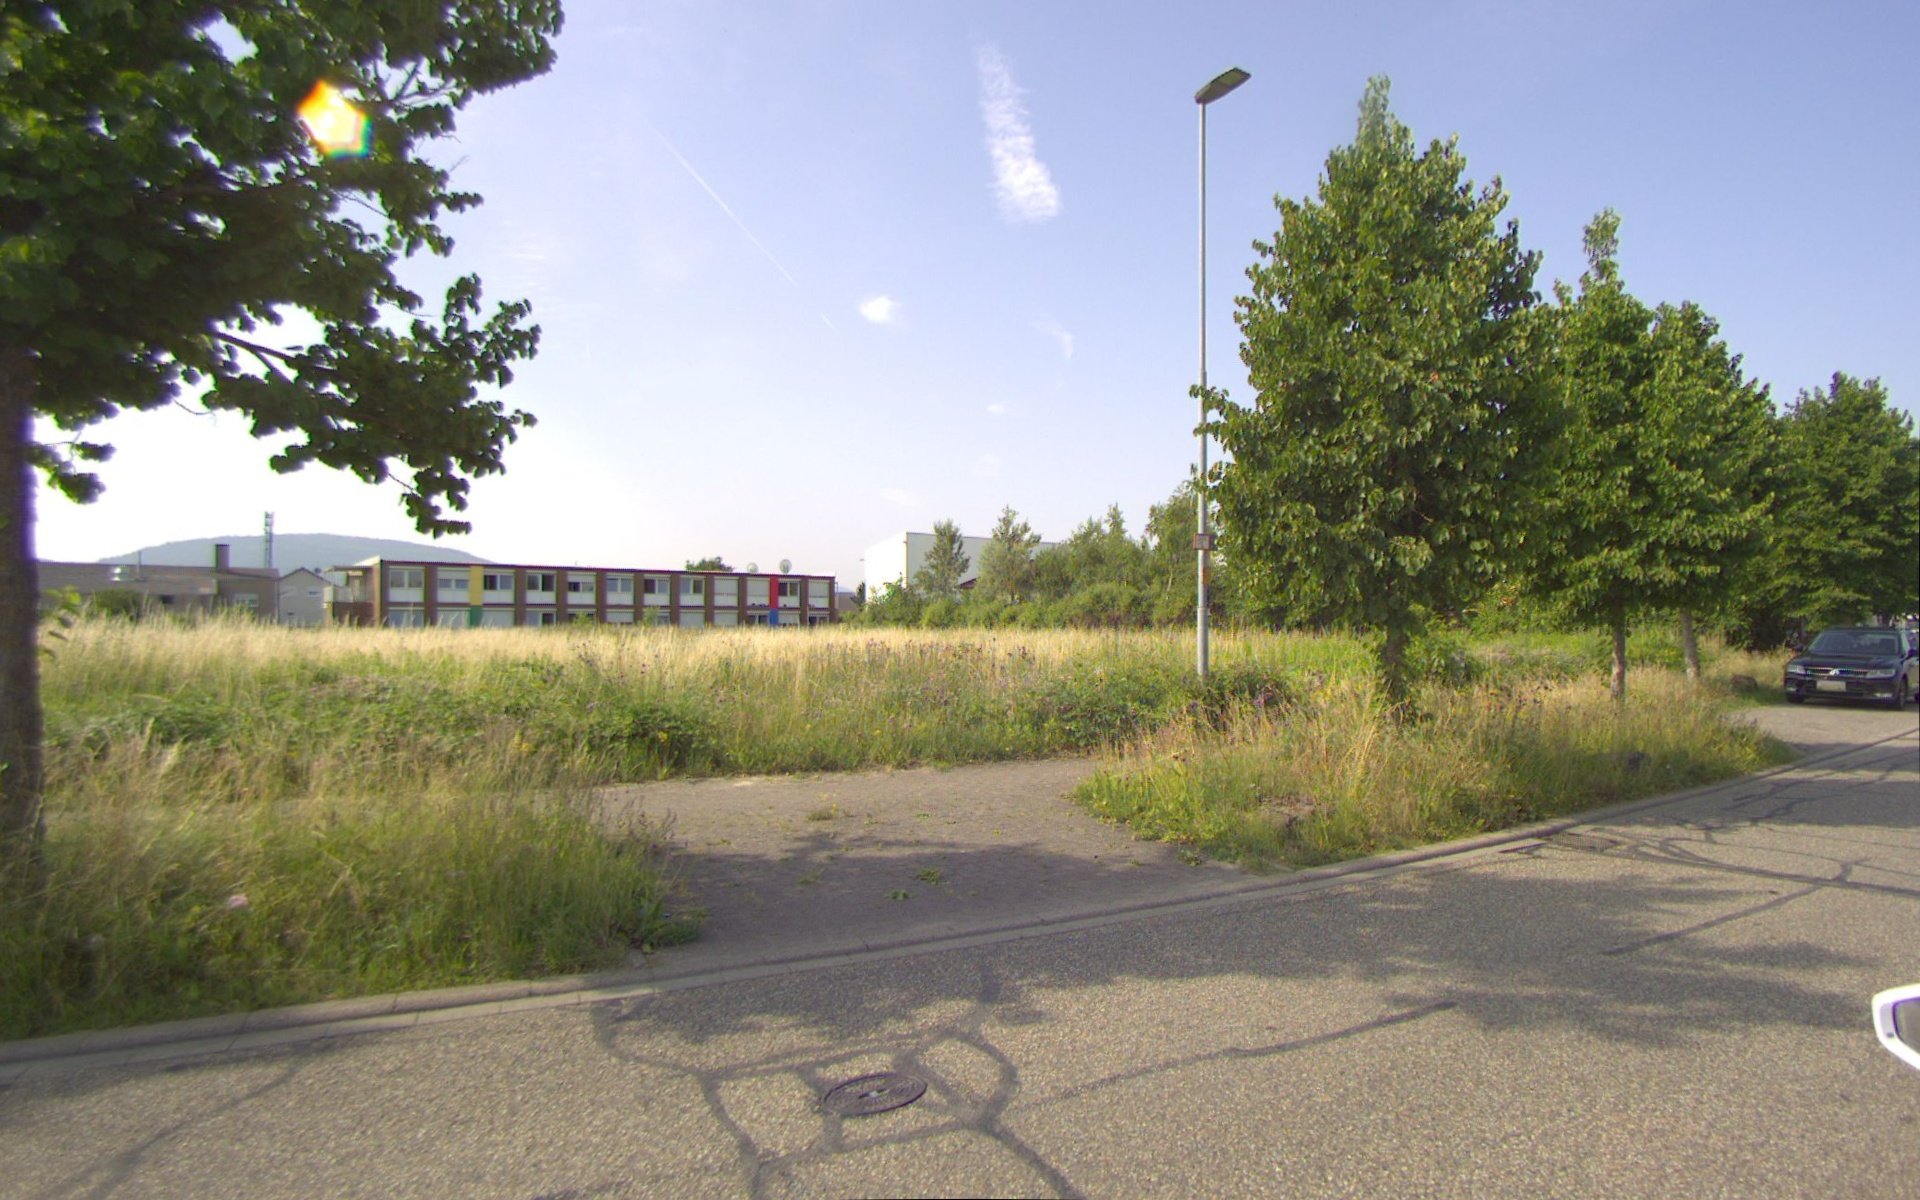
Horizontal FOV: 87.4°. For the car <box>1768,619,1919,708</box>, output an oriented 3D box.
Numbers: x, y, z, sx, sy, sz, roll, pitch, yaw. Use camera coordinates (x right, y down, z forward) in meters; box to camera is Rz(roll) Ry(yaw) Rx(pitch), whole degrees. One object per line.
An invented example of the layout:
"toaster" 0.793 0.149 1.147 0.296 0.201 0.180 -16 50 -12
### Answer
"car" 18.958 1.256 21.255 4.408 1.648 1.889 1 0 -37
